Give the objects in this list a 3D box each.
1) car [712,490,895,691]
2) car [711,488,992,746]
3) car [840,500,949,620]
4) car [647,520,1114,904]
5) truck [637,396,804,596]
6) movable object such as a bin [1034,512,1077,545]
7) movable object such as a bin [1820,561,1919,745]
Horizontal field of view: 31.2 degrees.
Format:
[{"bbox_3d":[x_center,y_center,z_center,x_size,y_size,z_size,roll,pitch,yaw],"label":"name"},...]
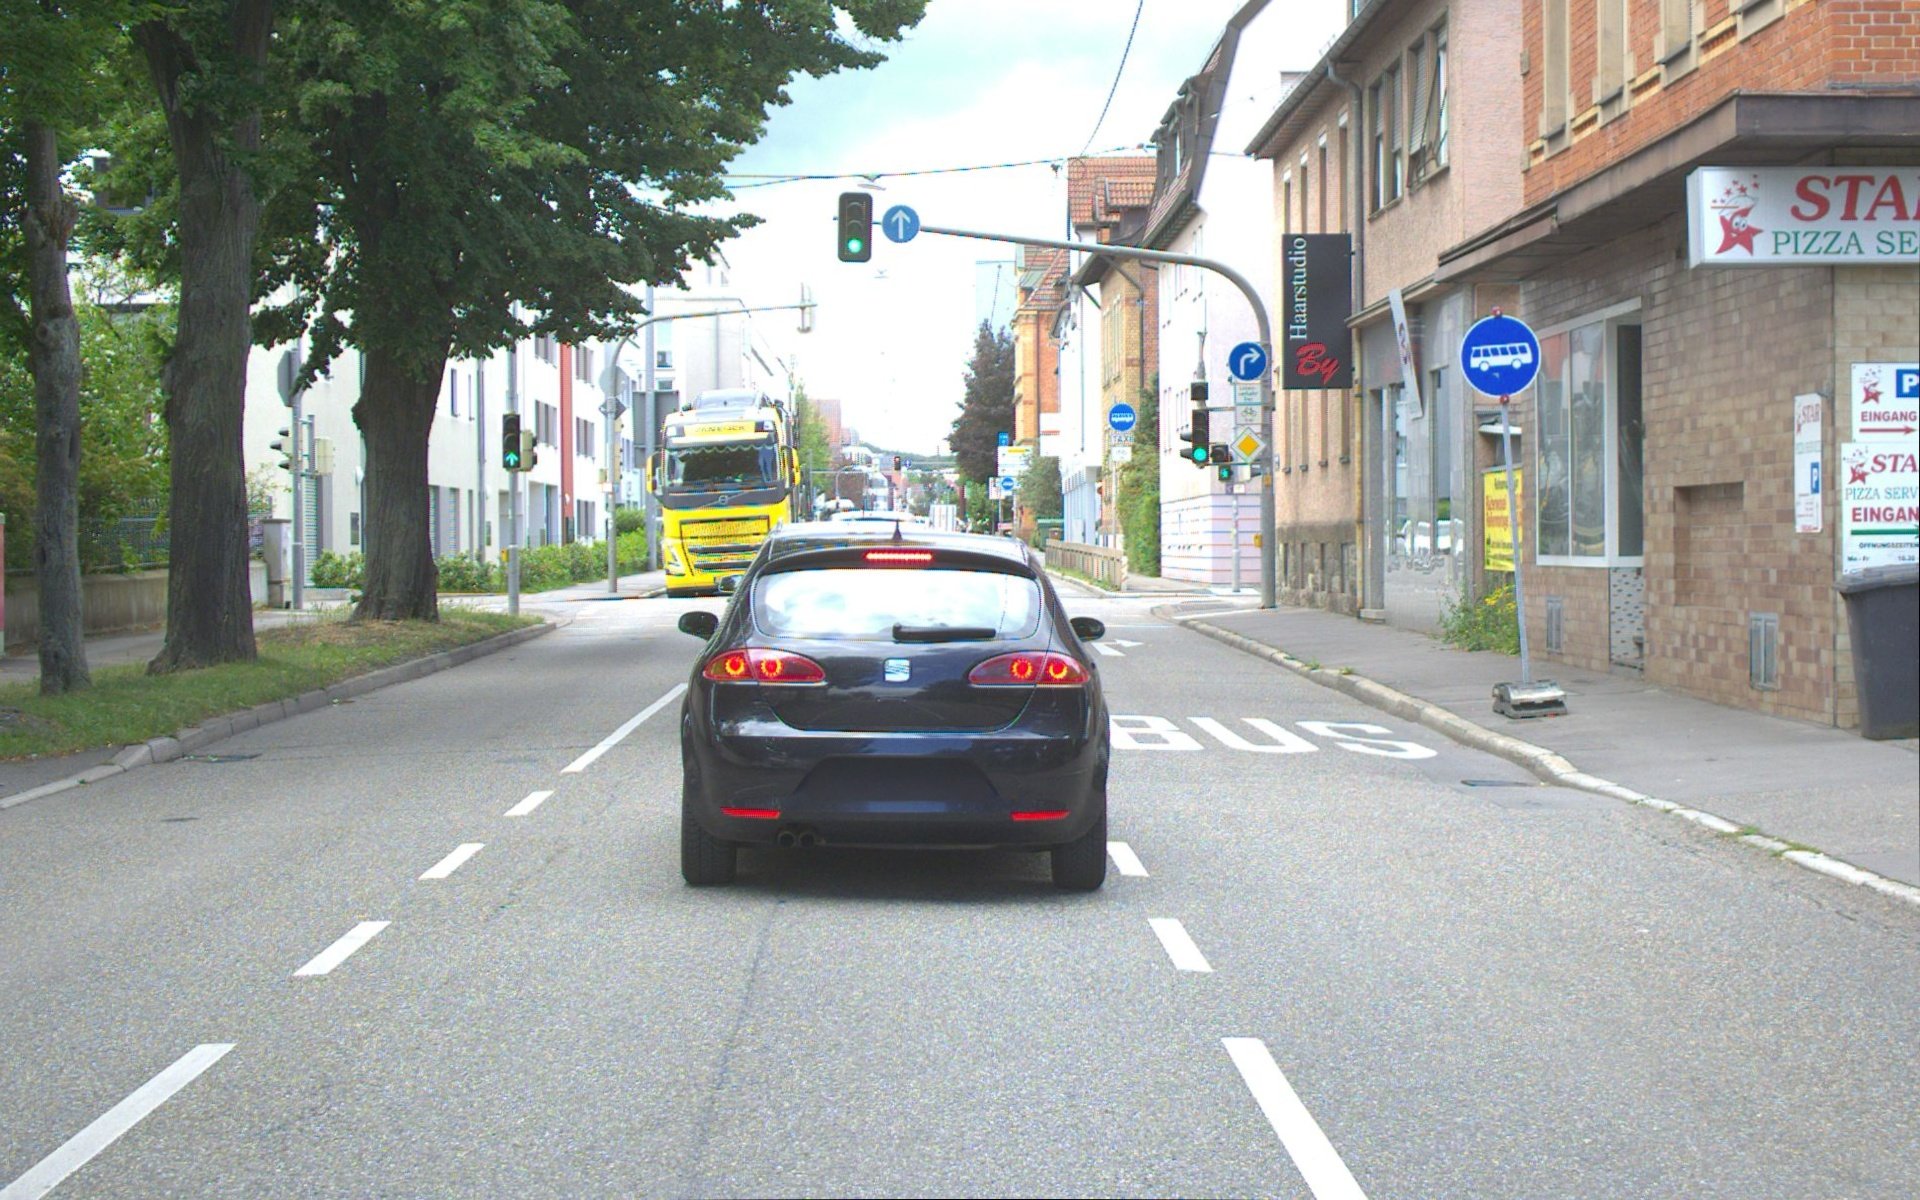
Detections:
[{"bbox_3d":[-1.369,-0.111,31.055,1.531,1.687,3.693,1,1,-1],"label":"car"},{"bbox_3d":[-0.760,0.080,24.778,1.842,1.687,4.000,1,1,-1],"label":"car"},{"bbox_3d":[-0.972,-0.600,50.861,1.531,1.687,3.693,1,1,-1],"label":"car"},{"bbox_3d":[-0.333,0.395,15.083,1.759,1.437,4.000,1,1,-1],"label":"car"},{"bbox_3d":[-4.733,-2.044,69.350,2.843,3.769,7.670,1,1,0],"label":"truck"},{"bbox_3d":[4.147,-3.103,149.764,1.818,1.432,1.993,1,1,0],"label":"movable object such as a bin"},{"bbox_3d":[5.734,0.319,21.308,0.606,1.097,0.622,-2,1,0],"label":"movable object such as a bin"}]
